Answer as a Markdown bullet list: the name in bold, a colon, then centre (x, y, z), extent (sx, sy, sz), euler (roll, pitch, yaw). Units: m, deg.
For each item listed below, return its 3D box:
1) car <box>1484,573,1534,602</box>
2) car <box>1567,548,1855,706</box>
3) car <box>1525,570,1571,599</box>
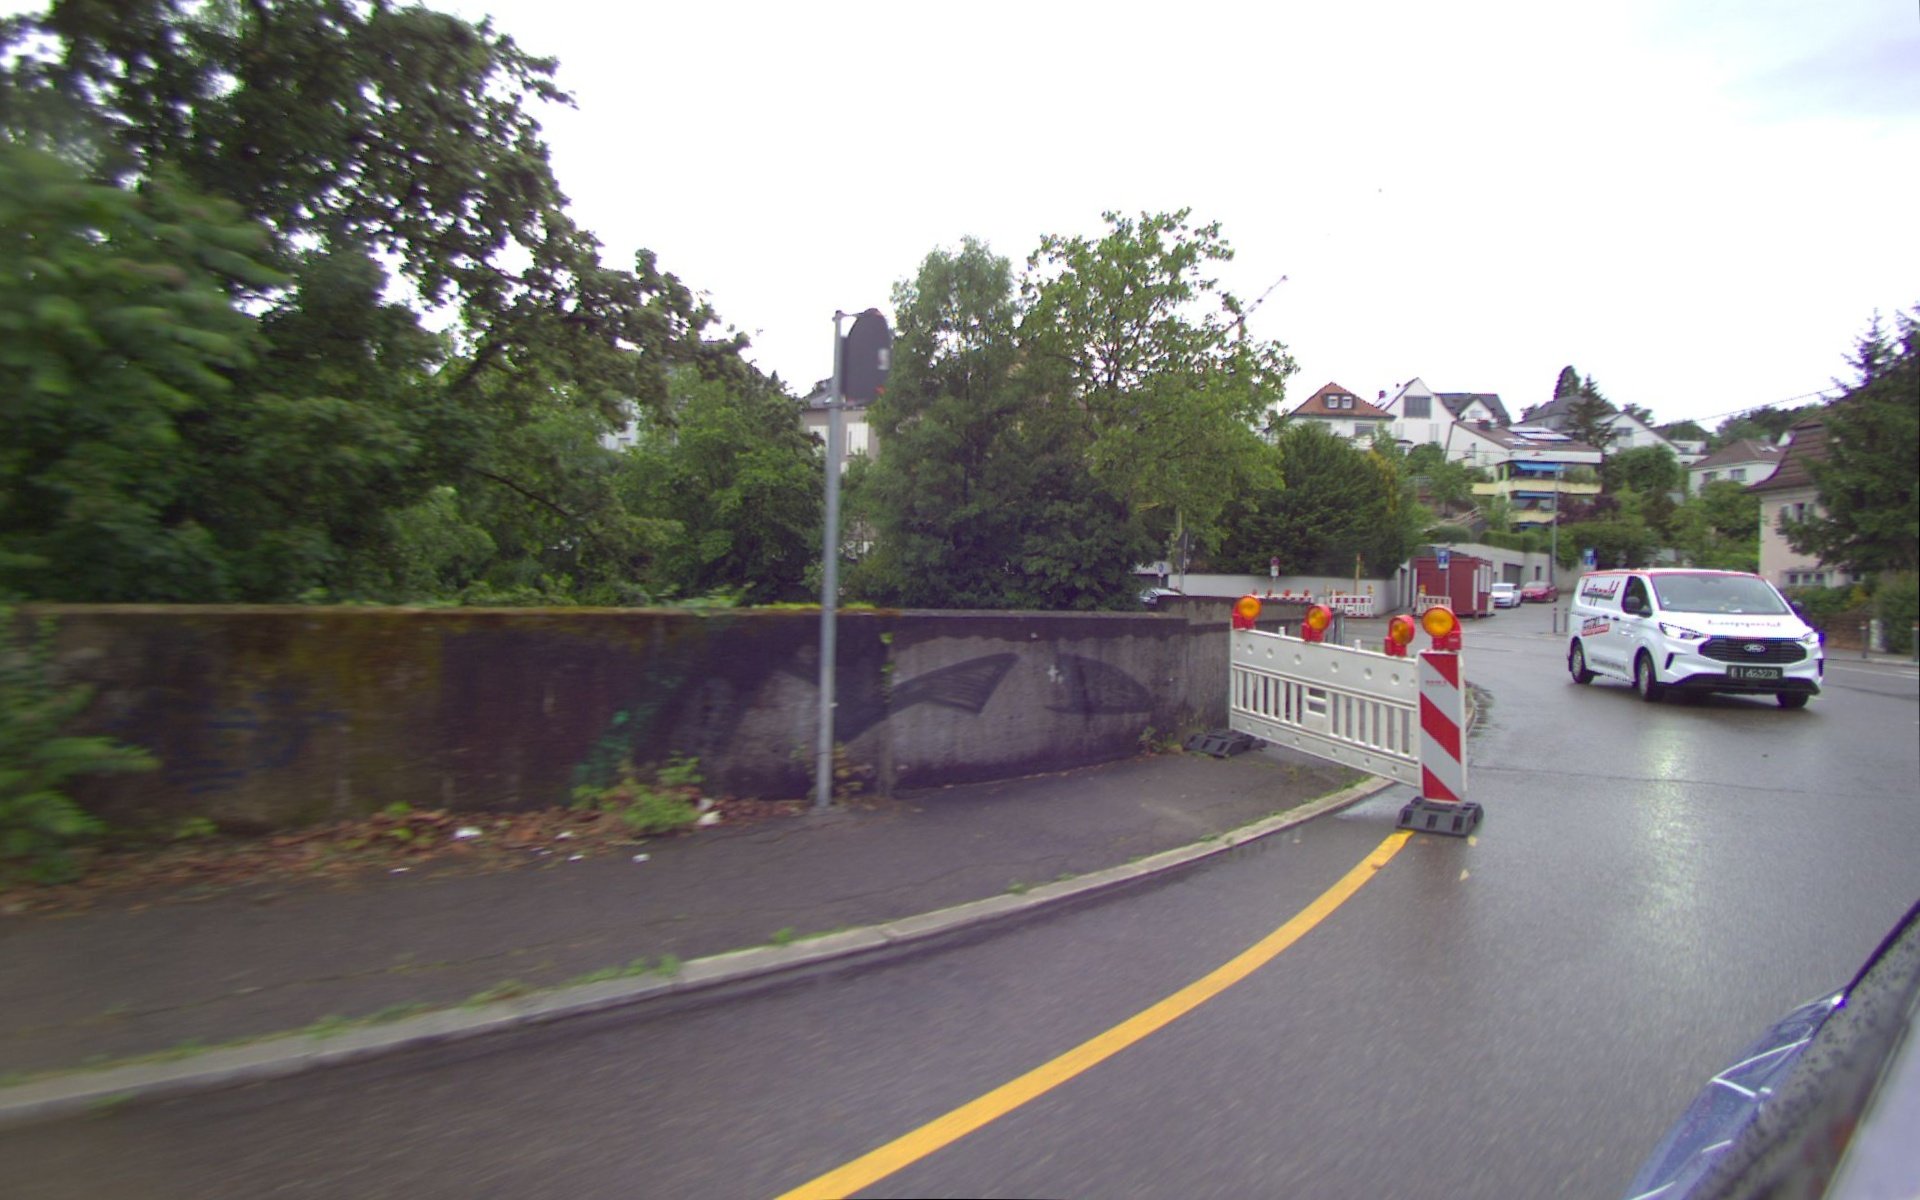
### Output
- **car**: centre (34.345, -0.823, 63.262), extent (1.991, 1.682, 3.944), euler (4, 4, 39)
- **car**: centre (11.293, 0.325, 15.726), extent (1.972, 2.039, 4.923), euler (1, 0, 16)
- **car**: centre (39.856, -1.056, 68.588), extent (1.869, 1.682, 3.938), euler (4, 1, 42)
